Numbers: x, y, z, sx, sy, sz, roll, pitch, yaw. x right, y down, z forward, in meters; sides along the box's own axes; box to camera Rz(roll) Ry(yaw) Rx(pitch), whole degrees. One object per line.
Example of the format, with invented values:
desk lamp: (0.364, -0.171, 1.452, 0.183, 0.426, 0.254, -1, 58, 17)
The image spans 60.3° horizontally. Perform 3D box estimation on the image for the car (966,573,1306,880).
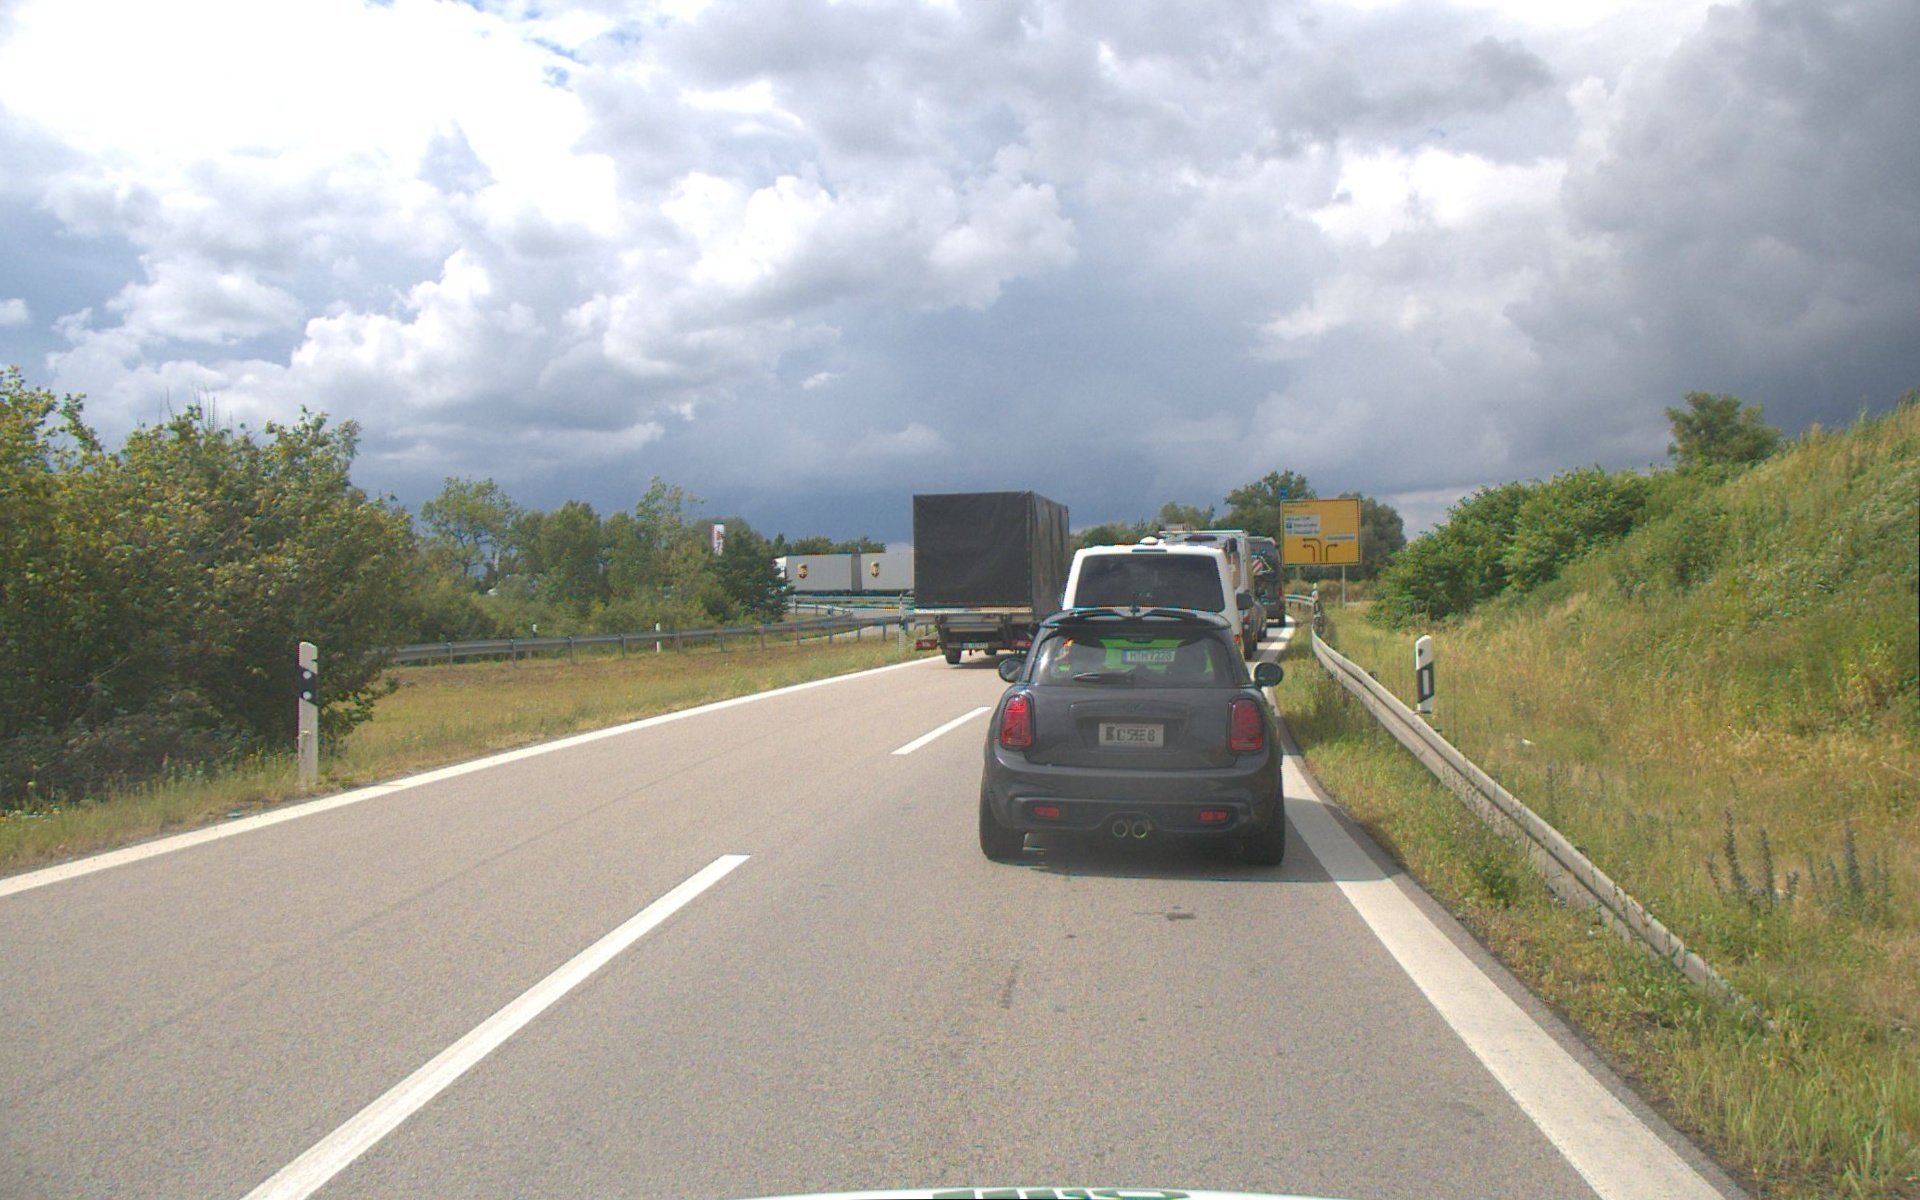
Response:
car: (1.167, 0.647, 10.505, 1.761, 1.573, 3.741, 0, 0, 8)

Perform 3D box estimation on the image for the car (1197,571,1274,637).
car: (7.406, 0.130, 44.333, 1.951, 1.671, 3.932, 1, -1, 10)

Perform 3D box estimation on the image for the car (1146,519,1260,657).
car: (5.233, -0.204, 35.084, 2.164, 2.668, 5.539, 1, -1, 10)

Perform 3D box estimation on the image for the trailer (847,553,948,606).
trailer: (-5.014, -1.590, 130.756, 3.021, 3.966, 8.634, 2, -1, -43)

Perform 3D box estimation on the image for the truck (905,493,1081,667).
truck: (0.878, -0.337, 34.507, 2.505, 3.223, 7.474, 1, -1, 10)

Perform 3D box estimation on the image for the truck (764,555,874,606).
truck: (-11.742, -1.619, 136.959, 9.836, 4.046, 2.832, 0, -1, 38)

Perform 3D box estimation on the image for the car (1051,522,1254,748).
car: (2.088, 0.327, 17.454, 1.870, 2.081, 4.184, 0, 0, 8)

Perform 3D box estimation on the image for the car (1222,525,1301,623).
car: (10.292, -0.799, 56.037, 2.262, 3.122, 6.667, 1, -1, 13)
